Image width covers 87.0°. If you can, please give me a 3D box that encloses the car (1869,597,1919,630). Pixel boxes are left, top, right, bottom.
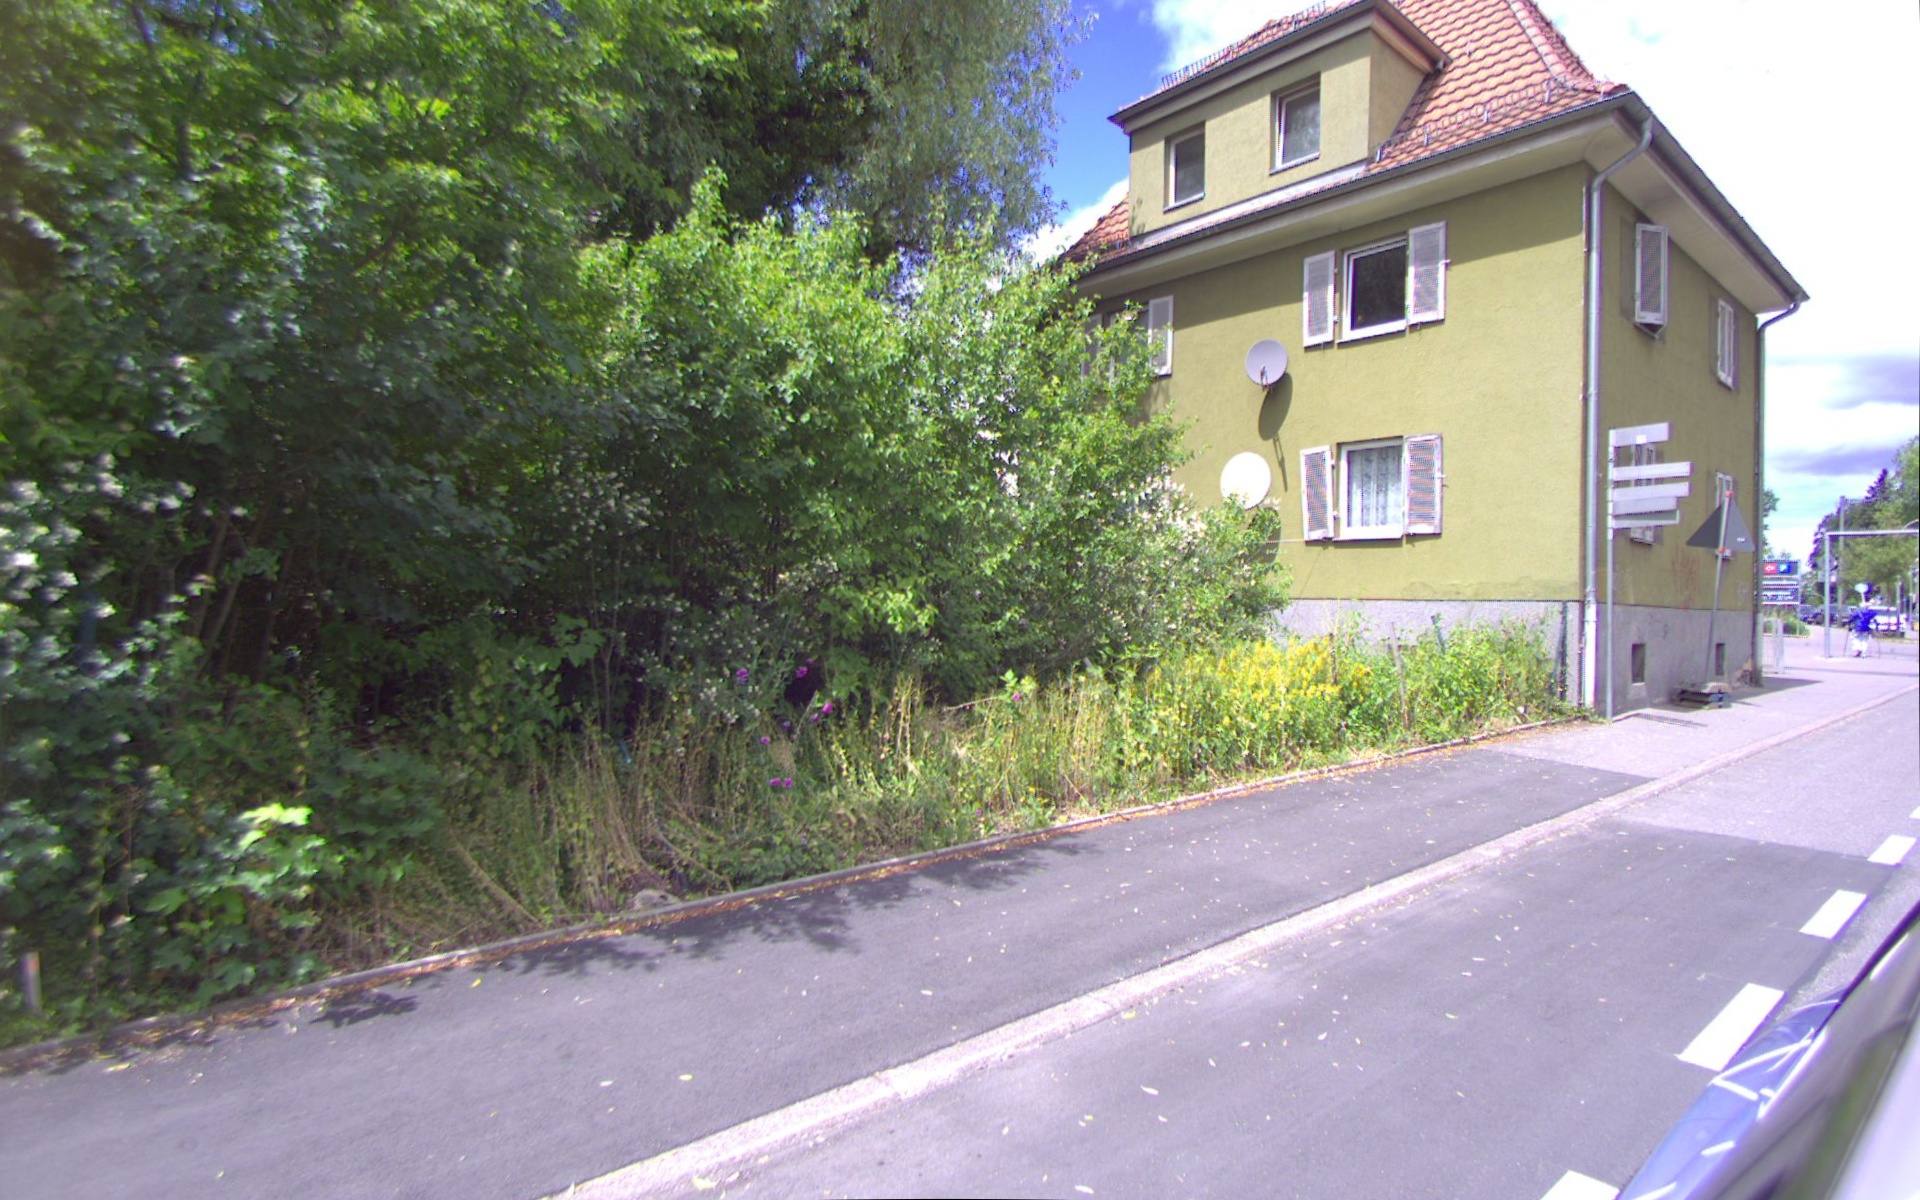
[{"bbox_3d":[47.468,0.645,51.332,1.788,1.549,3.864,4,2,40],"label":"car"}]

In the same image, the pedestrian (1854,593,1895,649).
[{"bbox_3d":[26.700,0.604,29.538,0.824,1.592,0.972,2,1,45],"label":"pedestrian"}]

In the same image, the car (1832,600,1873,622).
[{"bbox_3d":[64.953,0.779,73.705,1.694,1.551,3.951,-1,-1,34],"label":"car"}]
